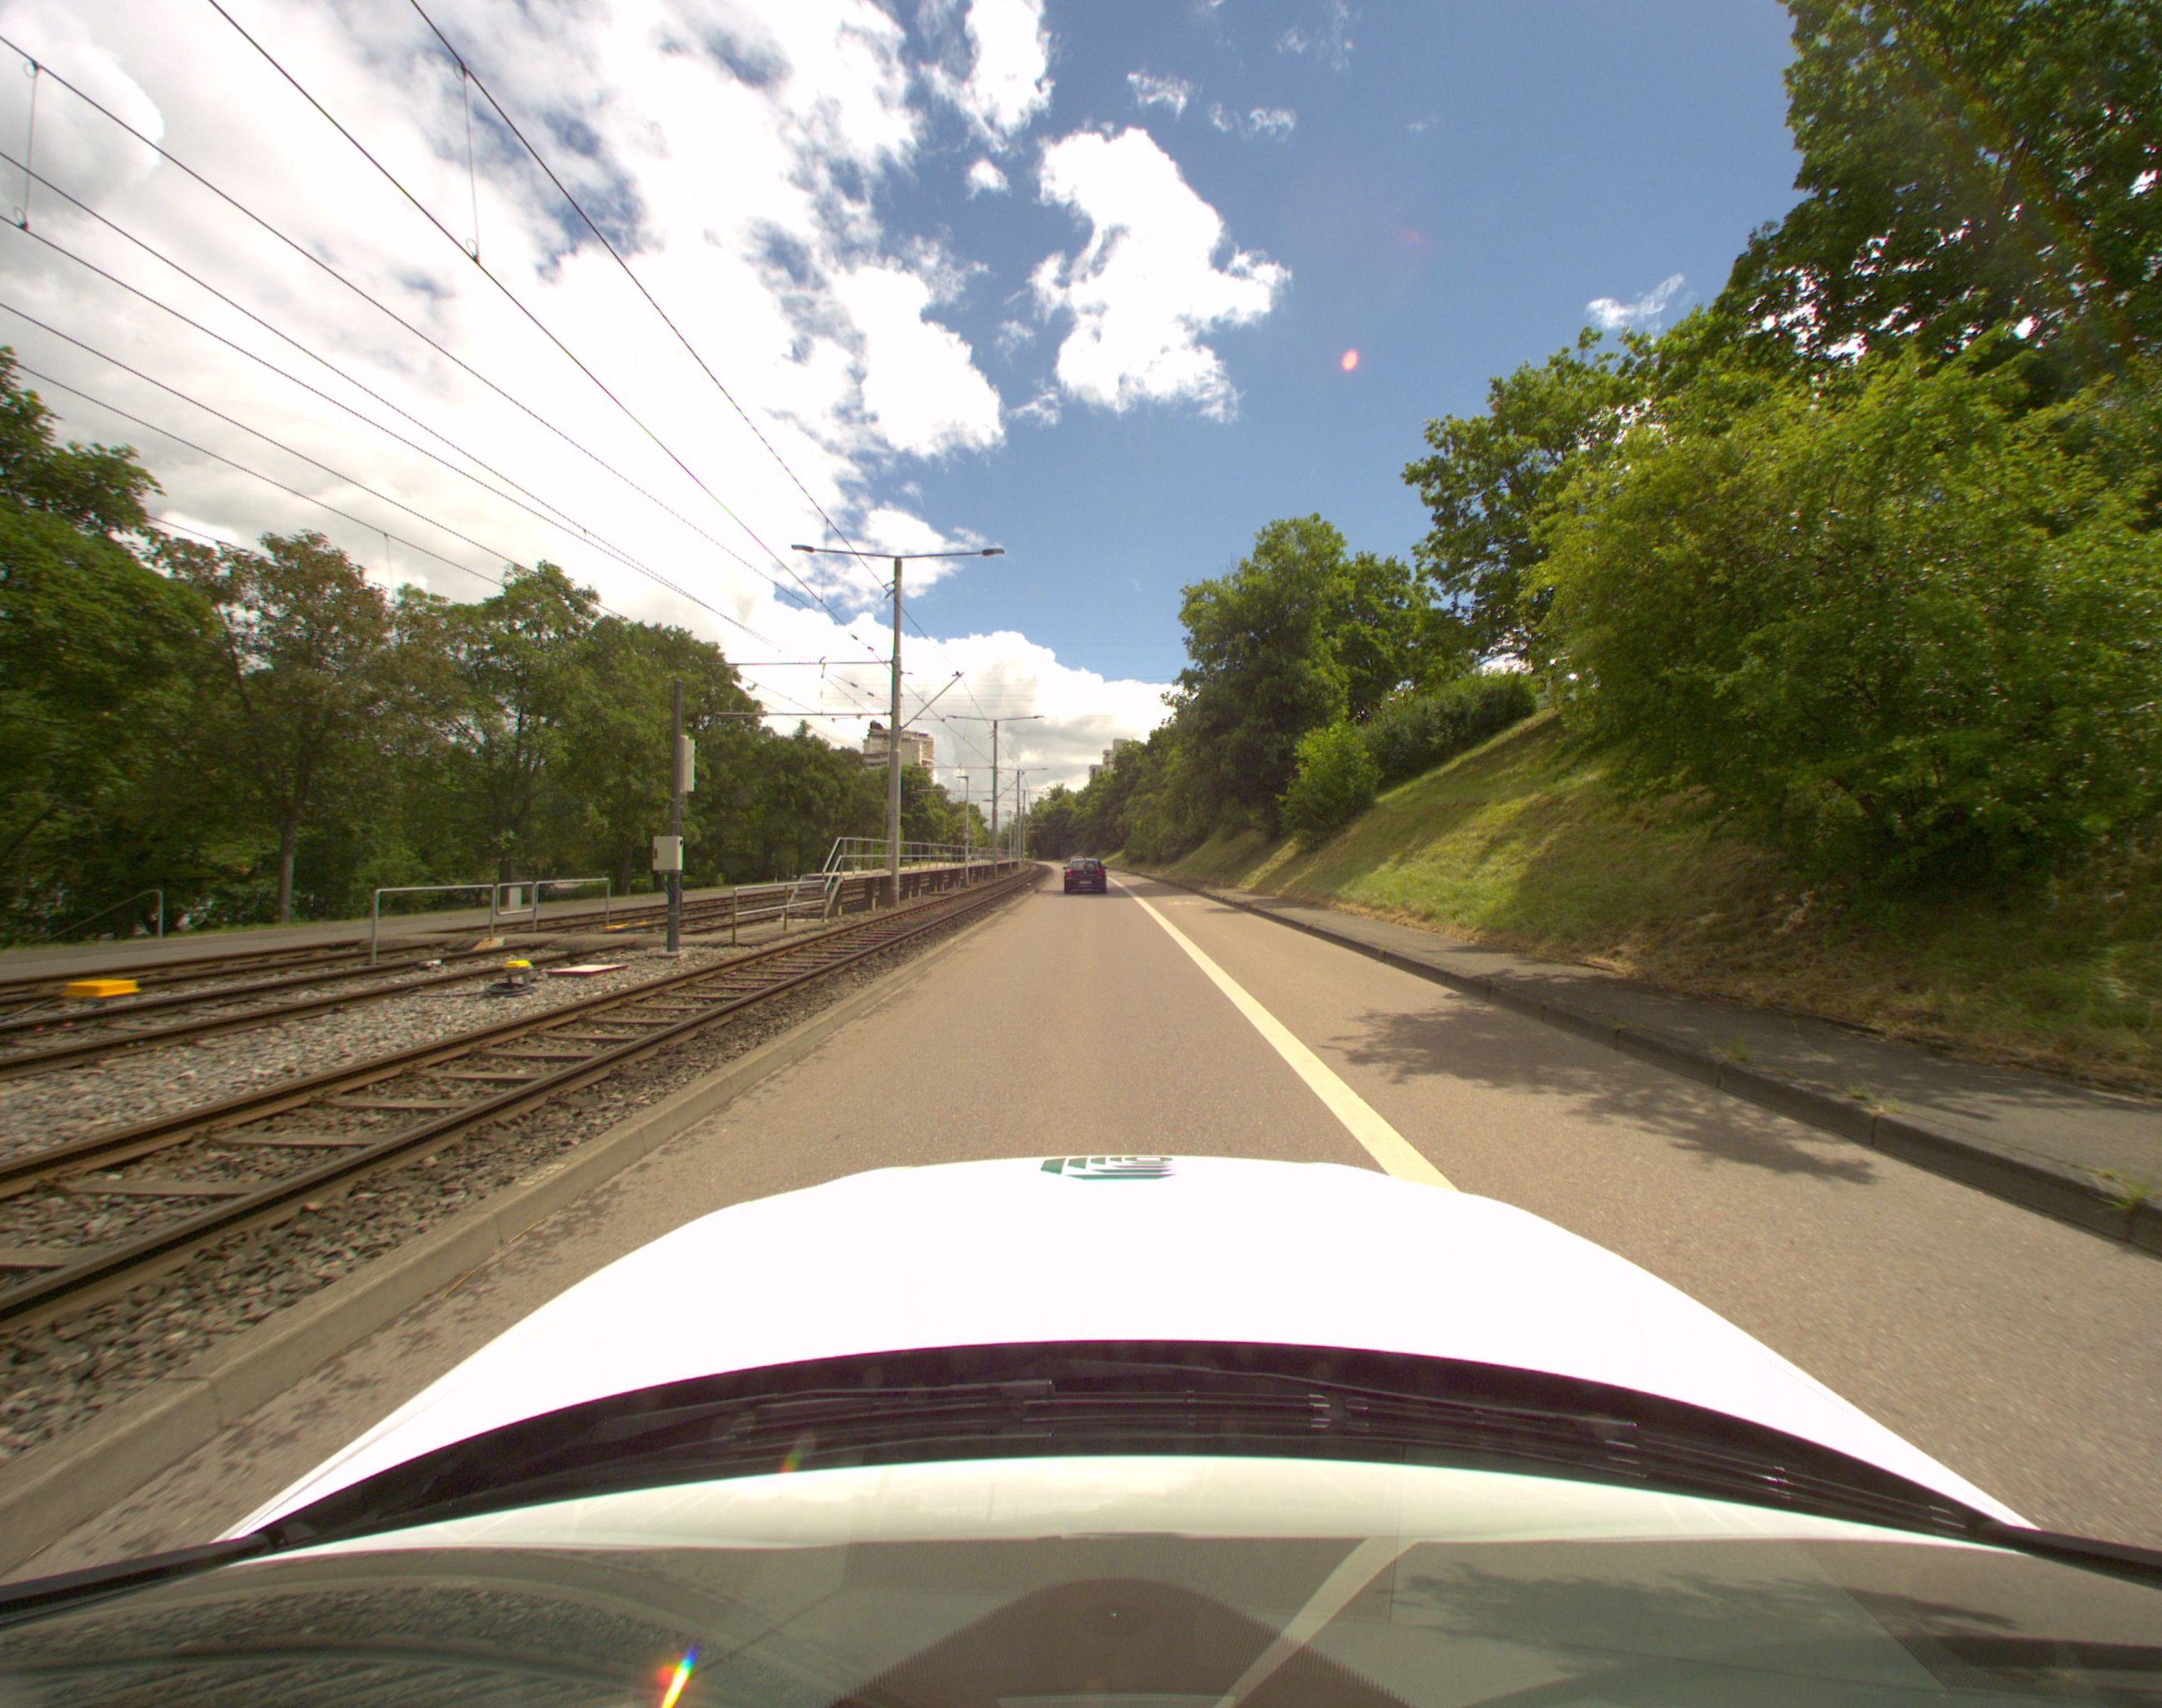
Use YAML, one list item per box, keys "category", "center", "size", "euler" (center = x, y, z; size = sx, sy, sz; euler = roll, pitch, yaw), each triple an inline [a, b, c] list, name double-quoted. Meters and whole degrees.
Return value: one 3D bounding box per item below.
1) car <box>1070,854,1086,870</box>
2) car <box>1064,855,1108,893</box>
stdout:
- category: "car"
  center: [-0.335, 0.805, 86.700]
  size: [1.619, 1.443, 3.422]
  euler: [1, 3, 0]
- category: "car"
  center: [0.188, 0.821, 33.969]
  size: [1.703, 1.460, 3.959]
  euler: [1, -1, 0]
